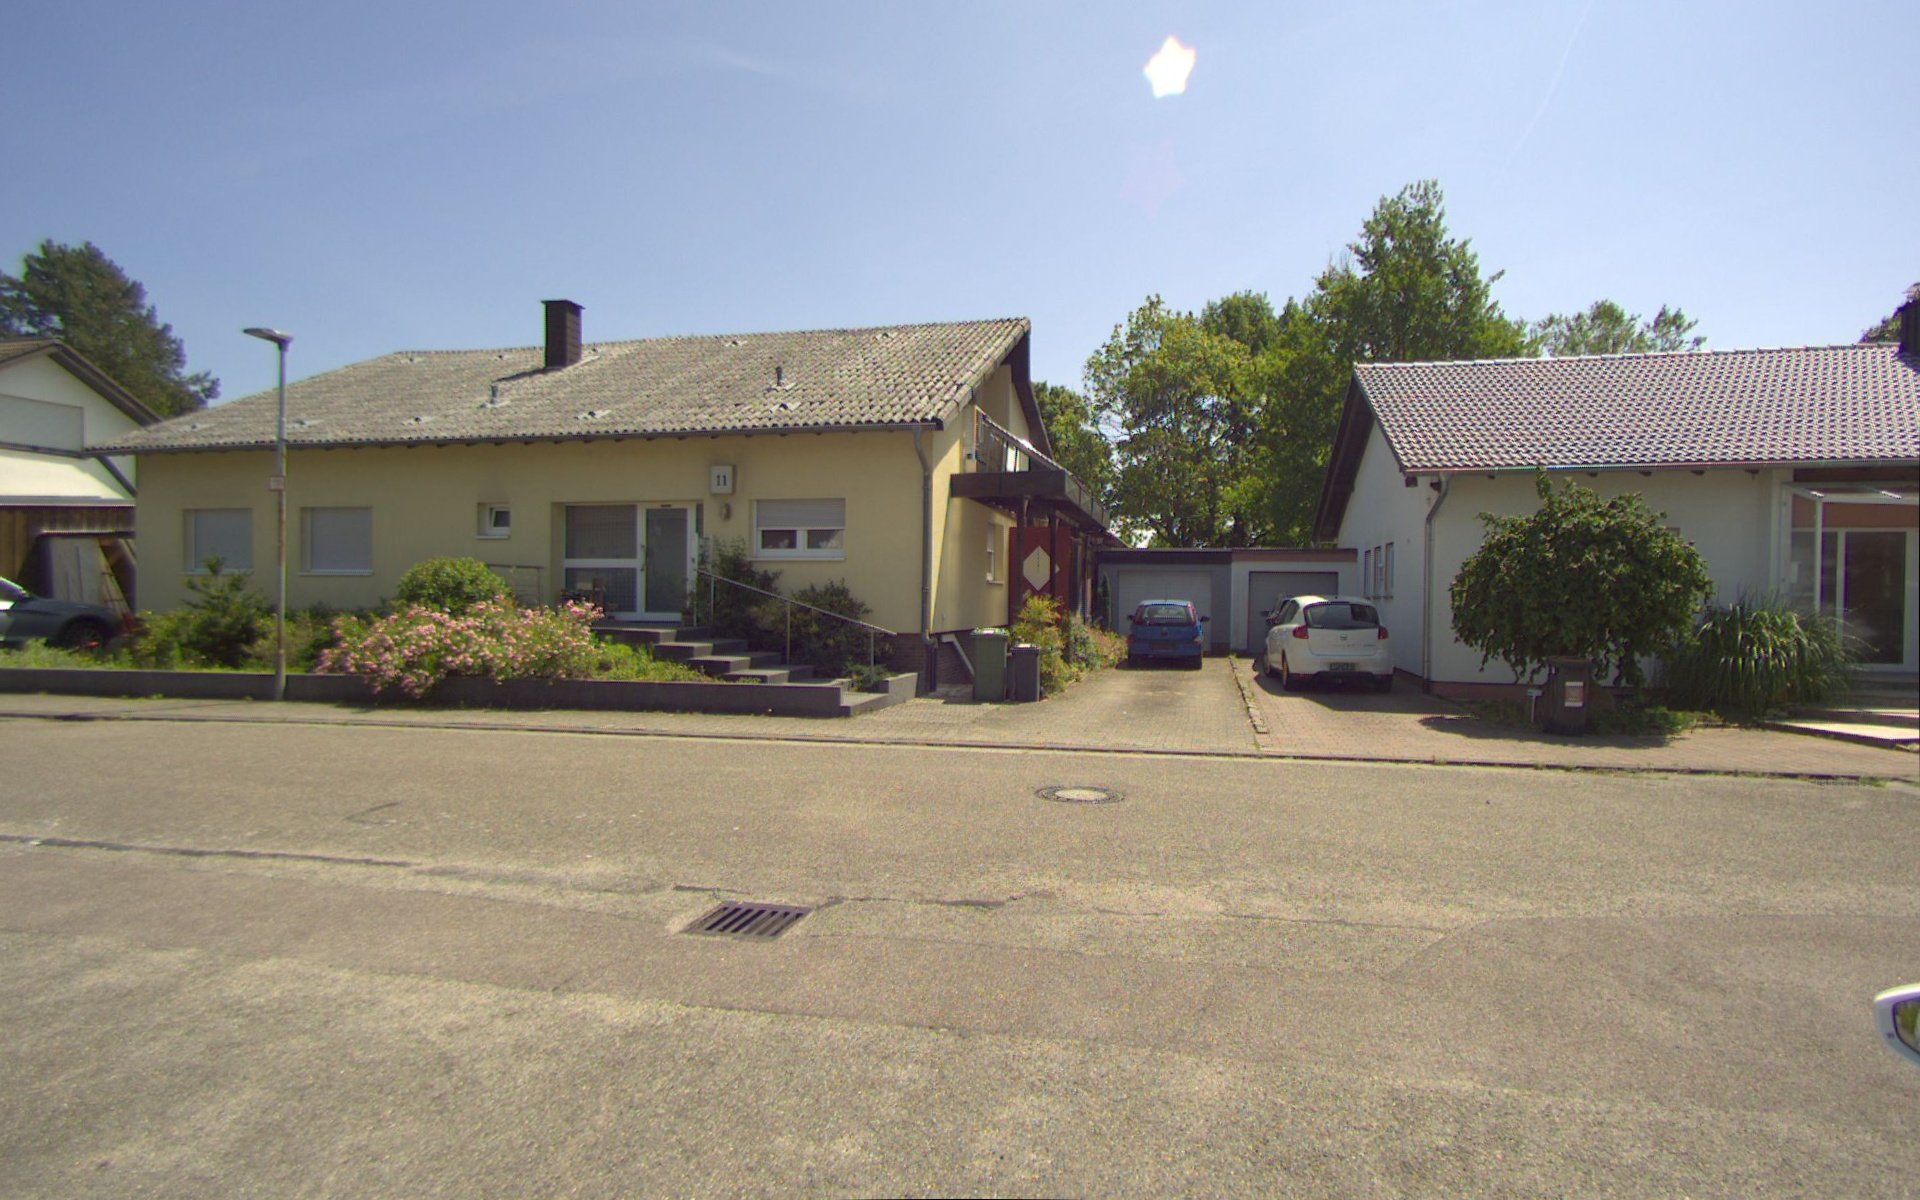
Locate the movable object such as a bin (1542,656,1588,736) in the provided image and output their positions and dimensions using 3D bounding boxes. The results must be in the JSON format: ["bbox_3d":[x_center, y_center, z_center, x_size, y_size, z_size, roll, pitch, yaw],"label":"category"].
[{"bbox_3d":[7.180,1.135,11.928,0.367,0.903,0.391,0,0,13],"label":"movable object such as a bin"}]

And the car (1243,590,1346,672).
[{"bbox_3d":[7.357,0.606,22.441,1.890,1.629,4.001,0,1,14],"label":"car"}]

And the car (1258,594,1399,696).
[{"bbox_3d":[6.442,0.701,17.956,1.716,1.589,4.002,1,0,11],"label":"car"}]

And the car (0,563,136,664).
[{"bbox_3d":[-17.248,0.229,17.236,1.675,1.725,4.643,1,2,17],"label":"car"}]

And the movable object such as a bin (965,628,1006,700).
[{"bbox_3d":[0.392,0.964,15.198,0.581,1.055,0.492,0,0,6],"label":"movable object such as a bin"}]

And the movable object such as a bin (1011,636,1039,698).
[{"bbox_3d":[0.974,1.004,15.097,0.399,0.903,0.426,0,0,6],"label":"movable object such as a bin"}]

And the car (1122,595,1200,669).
[{"bbox_3d":[4.631,0.658,22.877,1.587,1.474,3.255,1,2,14],"label":"car"}]
